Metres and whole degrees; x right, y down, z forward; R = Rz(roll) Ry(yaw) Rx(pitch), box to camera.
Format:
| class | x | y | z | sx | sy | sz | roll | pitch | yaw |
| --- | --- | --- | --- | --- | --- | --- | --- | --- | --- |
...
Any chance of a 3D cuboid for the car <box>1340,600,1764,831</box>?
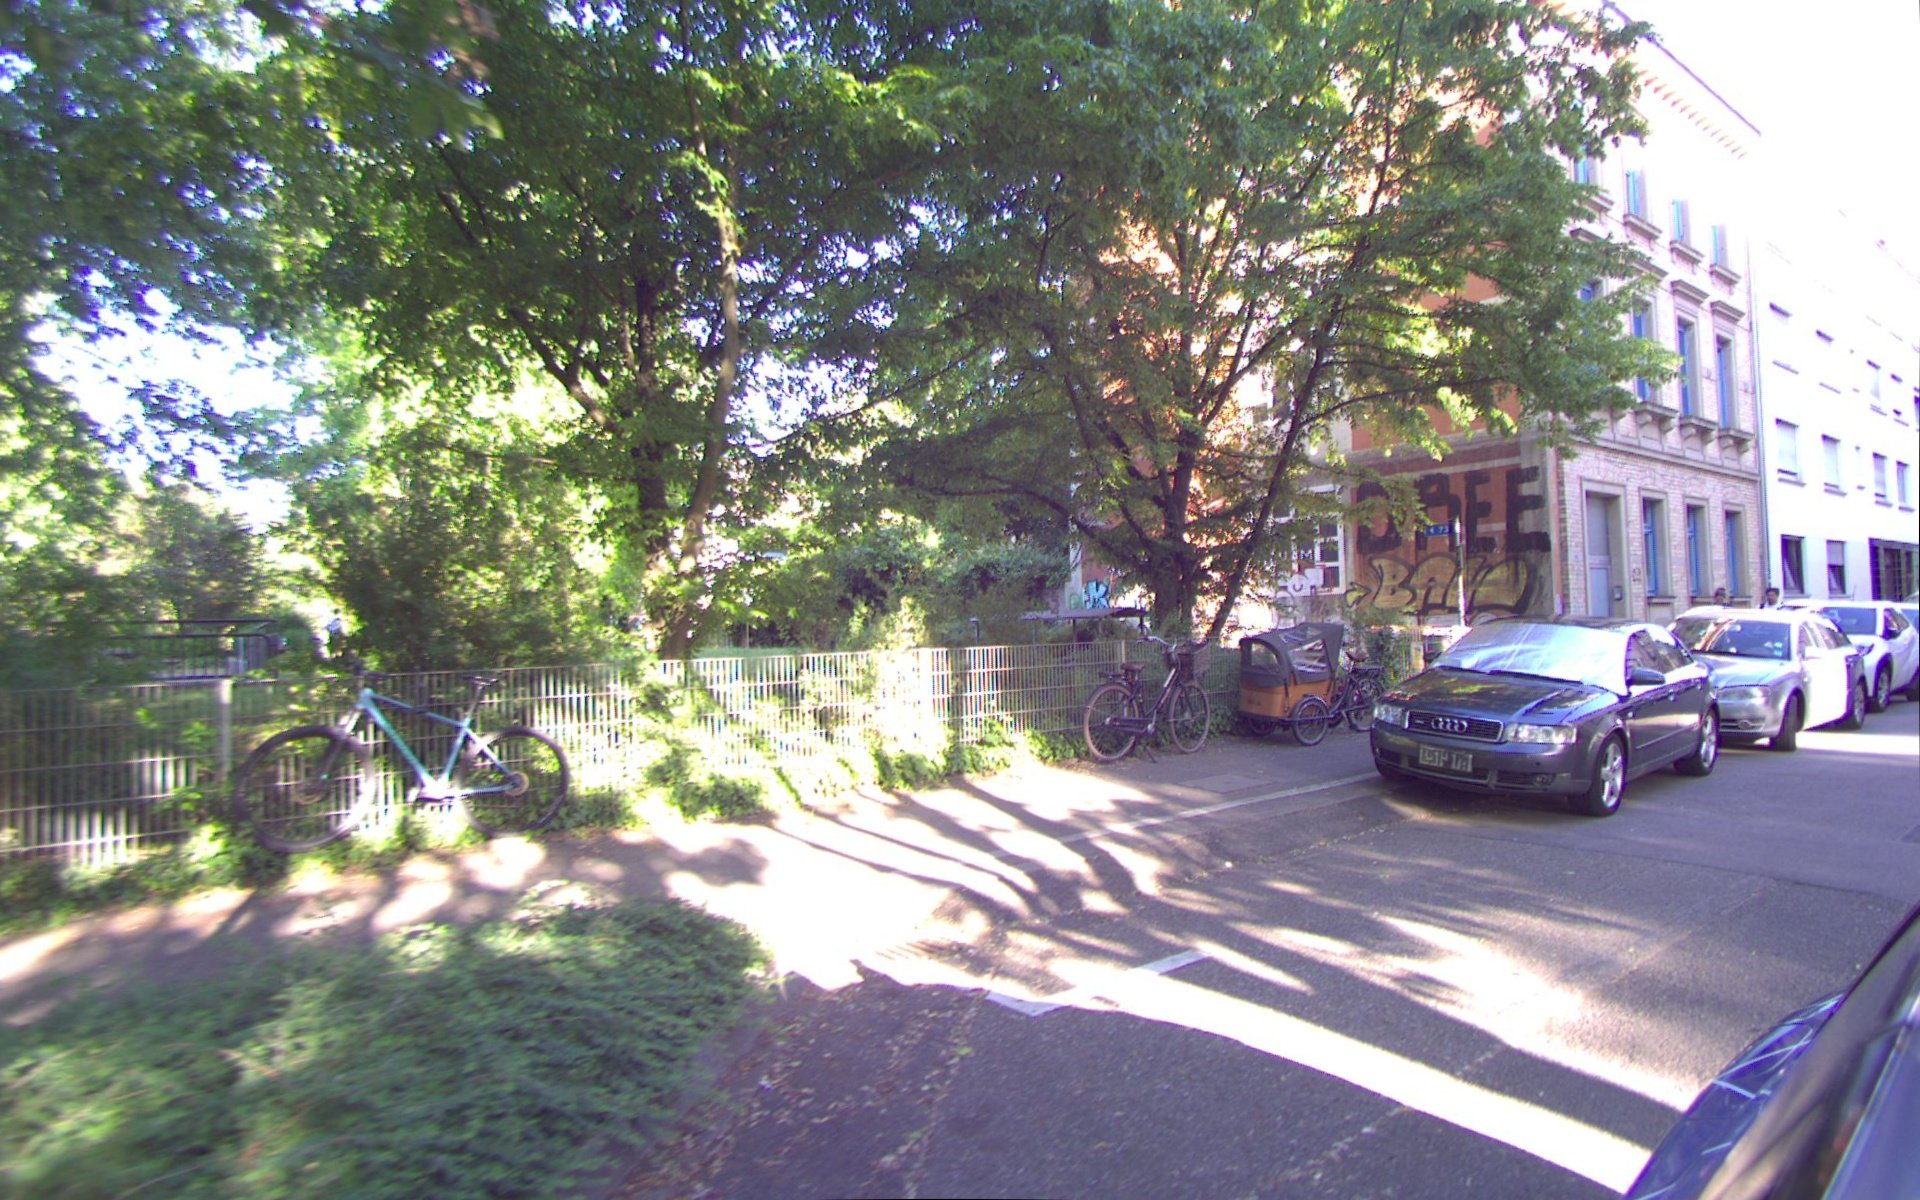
| class | x | y | z | sx | sy | sz | roll | pitch | yaw |
| --- | --- | --- | --- | --- | --- | --- | --- | --- | --- |
| car | 5.290 | 0.778 | 8.809 | 4.333 | 1.513 | 1.725 | -1 | 0 | -38 |

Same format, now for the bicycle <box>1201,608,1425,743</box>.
| class | x | y | z | sx | sy | sz | roll | pitch | yaw |
| --- | --- | --- | --- | --- | --- | --- | --- | --- | --- |
| bicycle | 4.004 | 0.776 | 11.433 | 2.282 | 1.318 | 1.295 | 0 | 0 | -34 |

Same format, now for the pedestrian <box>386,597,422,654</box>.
| class | x | y | z | sx | sy | sz | roll | pitch | yaw |
| --- | --- | --- | --- | --- | --- | --- | --- | --- | --- |
| pedestrian | -20.313 | 0.933 | 36.967 | 0.897 | 2.039 | 0.747 | -1 | -1 | 10 |

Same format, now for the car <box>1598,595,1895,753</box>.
| class | x | y | z | sx | sy | sz | roll | pitch | yaw |
| --- | --- | --- | --- | --- | --- | --- | --- | --- | --- |
| car | 9.270 | 0.713 | 11.819 | 4.272 | 1.512 | 1.664 | -1 | 0 | -37 |

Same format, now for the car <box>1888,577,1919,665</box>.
| class | x | y | z | sx | sy | sz | roll | pitch | yaw |
| --- | --- | --- | --- | --- | --- | --- | --- | --- | --- |
| car | 20.419 | 0.384 | 20.312 | 4.246 | 1.688 | 1.771 | 0 | -1 | -35 |

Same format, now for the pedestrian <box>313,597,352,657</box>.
| class | x | y | z | sx | sy | sz | roll | pitch | yaw |
| --- | --- | --- | --- | --- | --- | --- | --- | --- | --- |
| pedestrian | -21.890 | 0.935 | 35.312 | 0.897 | 2.039 | 0.747 | -1 | -1 | 10 |

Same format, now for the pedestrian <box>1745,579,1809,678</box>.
| class | x | y | z | sx | sy | sz | roll | pitch | yaw |
| --- | --- | --- | --- | --- | --- | --- | --- | --- | --- |
| pedestrian | 14.692 | 0.490 | 18.197 | 0.738 | 1.730 | 0.712 | 0 | 1 | -37 |

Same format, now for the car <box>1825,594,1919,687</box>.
| class | x | y | z | sx | sy | sz | roll | pitch | yaw |
| --- | --- | --- | --- | --- | --- | --- | --- | --- | --- |
| car | 16.531 | 0.634 | 17.591 | 3.931 | 1.469 | 1.597 | -1 | 0 | -39 |

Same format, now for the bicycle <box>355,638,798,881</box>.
| class | x | y | z | sx | sy | sz | roll | pitch | yaw |
| --- | --- | --- | --- | --- | --- | --- | --- | --- | --- |
| bicycle | -2.471 | 0.931 | 6.755 | 2.641 | 1.284 | 0.849 | 0 | -2 | -35 |

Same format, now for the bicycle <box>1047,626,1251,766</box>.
| class | x | y | z | sx | sy | sz | roll | pitch | yaw |
| --- | --- | --- | --- | --- | --- | --- | --- | --- | --- |
| bicycle | 1.880 | 0.879 | 9.943 | 1.944 | 1.216 | 0.849 | 0 | -2 | -35 |

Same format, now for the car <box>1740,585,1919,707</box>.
| class | x | y | z | sx | sy | sz | roll | pitch | yaw |
| --- | --- | --- | --- | --- | --- | --- | --- | --- | --- |
| car | 13.168 | 0.595 | 15.021 | 3.694 | 1.605 | 1.597 | 0 | 0 | -37 |

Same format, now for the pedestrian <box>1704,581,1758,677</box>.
| class | x | y | z | sx | sy | sz | roll | pitch | yaw |
| --- | --- | --- | --- | --- | --- | --- | --- | --- | --- |
| pedestrian | 14.313 | 0.516 | 18.790 | 0.693 | 1.730 | 0.599 | 0 | 1 | -37 |
